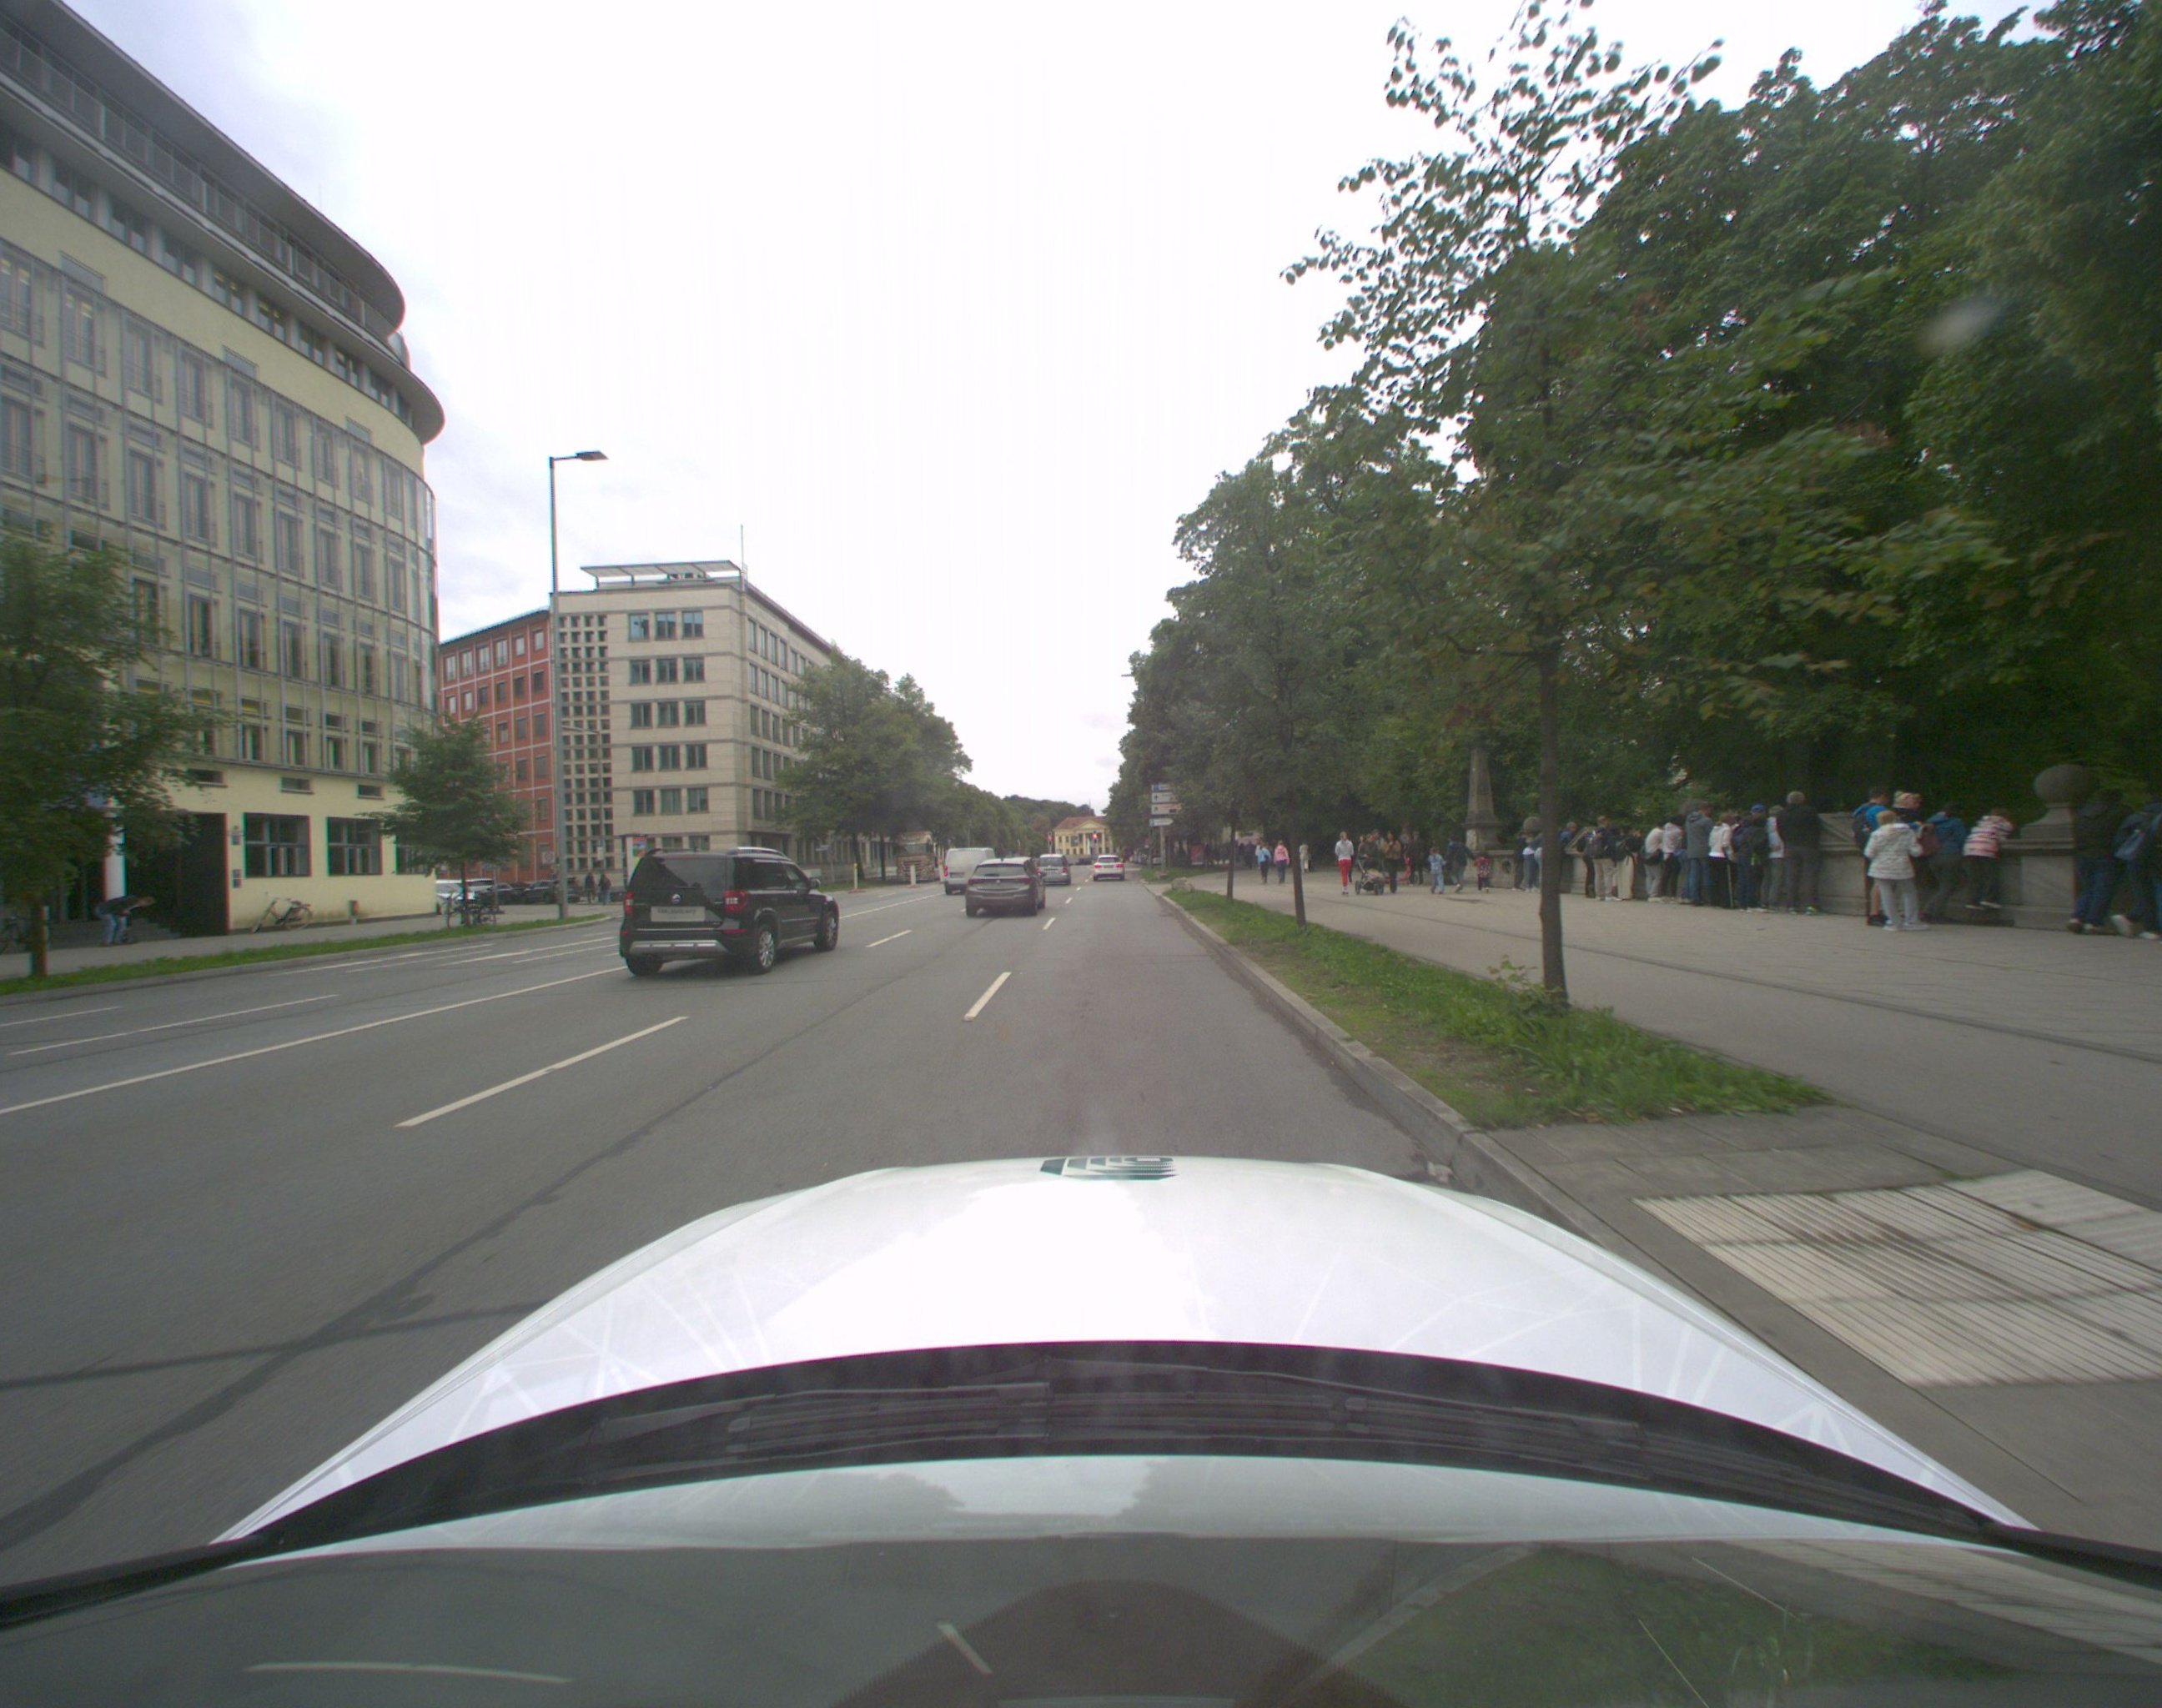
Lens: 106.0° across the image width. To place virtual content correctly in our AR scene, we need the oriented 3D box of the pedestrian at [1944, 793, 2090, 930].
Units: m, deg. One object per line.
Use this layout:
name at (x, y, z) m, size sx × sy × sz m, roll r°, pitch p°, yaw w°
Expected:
pedestrian at (10.751, 0.086, 9.384) m, size 0.808 × 1.507 × 0.729 m, roll -1°, pitch 0°, yaw 4°

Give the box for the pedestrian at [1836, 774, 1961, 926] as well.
pedestrian at (10.259, -0.051, 10.247) m, size 0.808 × 1.829 × 0.729 m, roll -1°, pitch 0°, yaw 4°

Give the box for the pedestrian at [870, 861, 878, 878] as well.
pedestrian at (-21.712, 1.642, 85.326) m, size 0.576 × 1.732 × 0.764 m, roll -1°, pitch 0°, yaw 2°

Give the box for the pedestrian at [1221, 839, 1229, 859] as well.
pedestrian at (12.822, -0.440, 72.671) m, size 0.627 × 1.774 × 0.783 m, roll -1°, pitch 0°, yaw 5°

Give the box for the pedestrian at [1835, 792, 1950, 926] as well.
pedestrian at (11.055, 0.068, 11.121) m, size 0.808 × 1.768 × 0.729 m, roll -1°, pitch 0°, yaw 4°

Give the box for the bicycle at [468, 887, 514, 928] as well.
bicycle at (-16.040, 1.444, 22.167) m, size 0.280 × 1.013 × 1.383 m, roll -1°, pitch 0°, yaw -2°

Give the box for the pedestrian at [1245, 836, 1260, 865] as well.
pedestrian at (10.309, -0.205, 49.000) m, size 0.748 × 1.737 × 0.853 m, roll -1°, pitch 0°, yaw 17°

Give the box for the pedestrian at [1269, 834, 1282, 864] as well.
pedestrian at (11.822, -0.291, 49.481) m, size 0.585 × 1.822 × 0.850 m, roll -1°, pitch 0°, yaw 3°

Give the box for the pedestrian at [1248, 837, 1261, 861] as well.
pedestrian at (12.609, -0.383, 59.172) m, size 0.748 × 1.737 × 0.853 m, roll -1°, pitch 0°, yaw 17°

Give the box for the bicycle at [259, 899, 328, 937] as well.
bicycle at (-23.997, 1.927, 24.844) m, size 0.571 × 1.013 × 1.592 m, roll -1°, pitch 0°, yaw -2°

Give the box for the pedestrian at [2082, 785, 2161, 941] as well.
pedestrian at (10.680, 0.081, 8.150) m, size 0.633 × 1.507 × 0.533 m, roll -1°, pitch 0°, yaw 4°

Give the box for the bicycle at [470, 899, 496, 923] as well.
bicycle at (-26.982, 2.568, 36.751) m, size 1.822 × 1.021 × 0.590 m, roll -2°, pitch 0°, yaw 43°

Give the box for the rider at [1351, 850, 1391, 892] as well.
rider at (7.930, 0.446, 22.281) m, size 0.761 × 1.112 × 1.246 m, roll -1°, pitch 0°, yaw 7°

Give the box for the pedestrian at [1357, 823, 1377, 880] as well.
pedestrian at (9.709, -0.074, 27.677) m, size 0.604 × 1.914 × 0.696 m, roll -1°, pitch 0°, yaw 18°

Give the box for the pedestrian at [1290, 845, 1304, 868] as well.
pedestrian at (10.470, 0.117, 39.527) m, size 0.626 × 1.137 × 0.575 m, roll -1°, pitch 0°, yaw 17°

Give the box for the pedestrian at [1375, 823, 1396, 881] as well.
pedestrian at (9.965, -0.057, 26.685) m, size 0.604 × 1.873 × 0.696 m, roll -1°, pitch 0°, yaw 18°

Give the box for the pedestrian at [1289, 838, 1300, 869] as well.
pedestrian at (10.957, -0.005, 41.739) m, size 0.481 × 1.566 × 0.575 m, roll -1°, pitch 0°, yaw 17°

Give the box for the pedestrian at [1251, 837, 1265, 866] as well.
pedestrian at (10.429, -0.150, 47.922) m, size 0.748 × 1.643 × 0.653 m, roll -1°, pitch 0°, yaw 17°

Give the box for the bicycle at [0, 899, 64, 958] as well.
bicycle at (-25.505, 1.763, 19.276) m, size 2.004 × 1.318 × 0.574 m, roll -1°, pitch 0°, yaw -4°

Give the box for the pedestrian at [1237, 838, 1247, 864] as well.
pedestrian at (11.236, -0.200, 56.808) m, size 0.604 × 1.763 × 0.798 m, roll -1°, pitch 0°, yaw 6°

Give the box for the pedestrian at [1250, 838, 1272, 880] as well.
pedestrian at (7.310, 0.205, 33.035) m, size 0.748 × 1.643 × 0.853 m, roll -1°, pitch 0°, yaw 17°

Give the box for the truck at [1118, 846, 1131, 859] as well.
truck at (11.708, -0.428, 219.036) m, size 3.312 × 3.367 × 8.667 m, roll -1°, pitch 0°, yaw 2°

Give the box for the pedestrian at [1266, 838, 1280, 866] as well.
pedestrian at (11.297, -0.133, 47.915) m, size 0.748 × 1.643 × 0.694 m, roll -1°, pitch 0°, yaw 17°

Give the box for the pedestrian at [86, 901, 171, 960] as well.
pedestrian at (-24.478, 1.943, 20.954) m, size 0.834 × 1.364 × 1.087 m, roll -3°, pitch 0°, yaw 2°

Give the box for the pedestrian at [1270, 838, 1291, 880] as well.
pedestrian at (8.061, 0.206, 32.895) m, size 0.748 × 1.643 × 0.853 m, roll -1°, pitch 0°, yaw 17°

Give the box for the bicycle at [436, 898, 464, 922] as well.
bicycle at (-24.932, 2.212, 32.188) m, size 1.715 × 0.877 × 0.590 m, roll -2°, pitch 0°, yaw 43°

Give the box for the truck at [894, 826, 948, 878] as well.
truck at (-12.302, -0.132, 63.400) m, size 2.908 × 3.774 × 7.659 m, roll -1°, pitch 0°, yaw -2°

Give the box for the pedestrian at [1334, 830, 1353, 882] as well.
pedestrian at (9.629, 0.081, 29.854) m, size 0.604 × 1.873 × 0.696 m, roll -1°, pitch 0°, yaw 18°

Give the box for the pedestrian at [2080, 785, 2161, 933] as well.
pedestrian at (11.208, 0.049, 8.598) m, size 0.633 × 1.507 × 0.533 m, roll -1°, pitch 0°, yaw 4°

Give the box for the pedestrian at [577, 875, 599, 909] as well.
pedestrian at (-26.292, 2.007, 43.421) m, size 0.679 × 1.775 × 0.675 m, roll -1°, pitch 0°, yaw 6°

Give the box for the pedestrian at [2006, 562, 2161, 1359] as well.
pedestrian at (2.930, 0.246, 1.971) m, size 0.795 × 1.881 × 0.547 m, roll -1°, pitch 0°, yaw 38°

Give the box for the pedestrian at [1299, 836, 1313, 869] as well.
pedestrian at (11.357, -0.061, 41.170) m, size 0.626 × 1.667 × 0.575 m, roll -1°, pitch 0°, yaw 17°

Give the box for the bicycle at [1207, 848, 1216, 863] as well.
bicycle at (8.729, 0.105, 54.484) m, size 0.383 × 1.021 × 2.080 m, roll -1°, pitch 0°, yaw 3°

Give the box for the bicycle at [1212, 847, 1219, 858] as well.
bicycle at (18.543, -0.192, 112.391) m, size 0.696 × 1.415 × 2.300 m, roll -3°, pitch 0°, yaw 2°

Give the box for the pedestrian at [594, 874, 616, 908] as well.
pedestrian at (-25.579, 1.969, 43.757) m, size 0.679 × 1.775 × 0.785 m, roll -1°, pitch 0°, yaw 6°

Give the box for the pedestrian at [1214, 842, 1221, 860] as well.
pedestrian at (12.697, -0.272, 75.494) m, size 0.577 × 1.675 × 0.554 m, roll -1°, pitch 0°, yaw 5°
